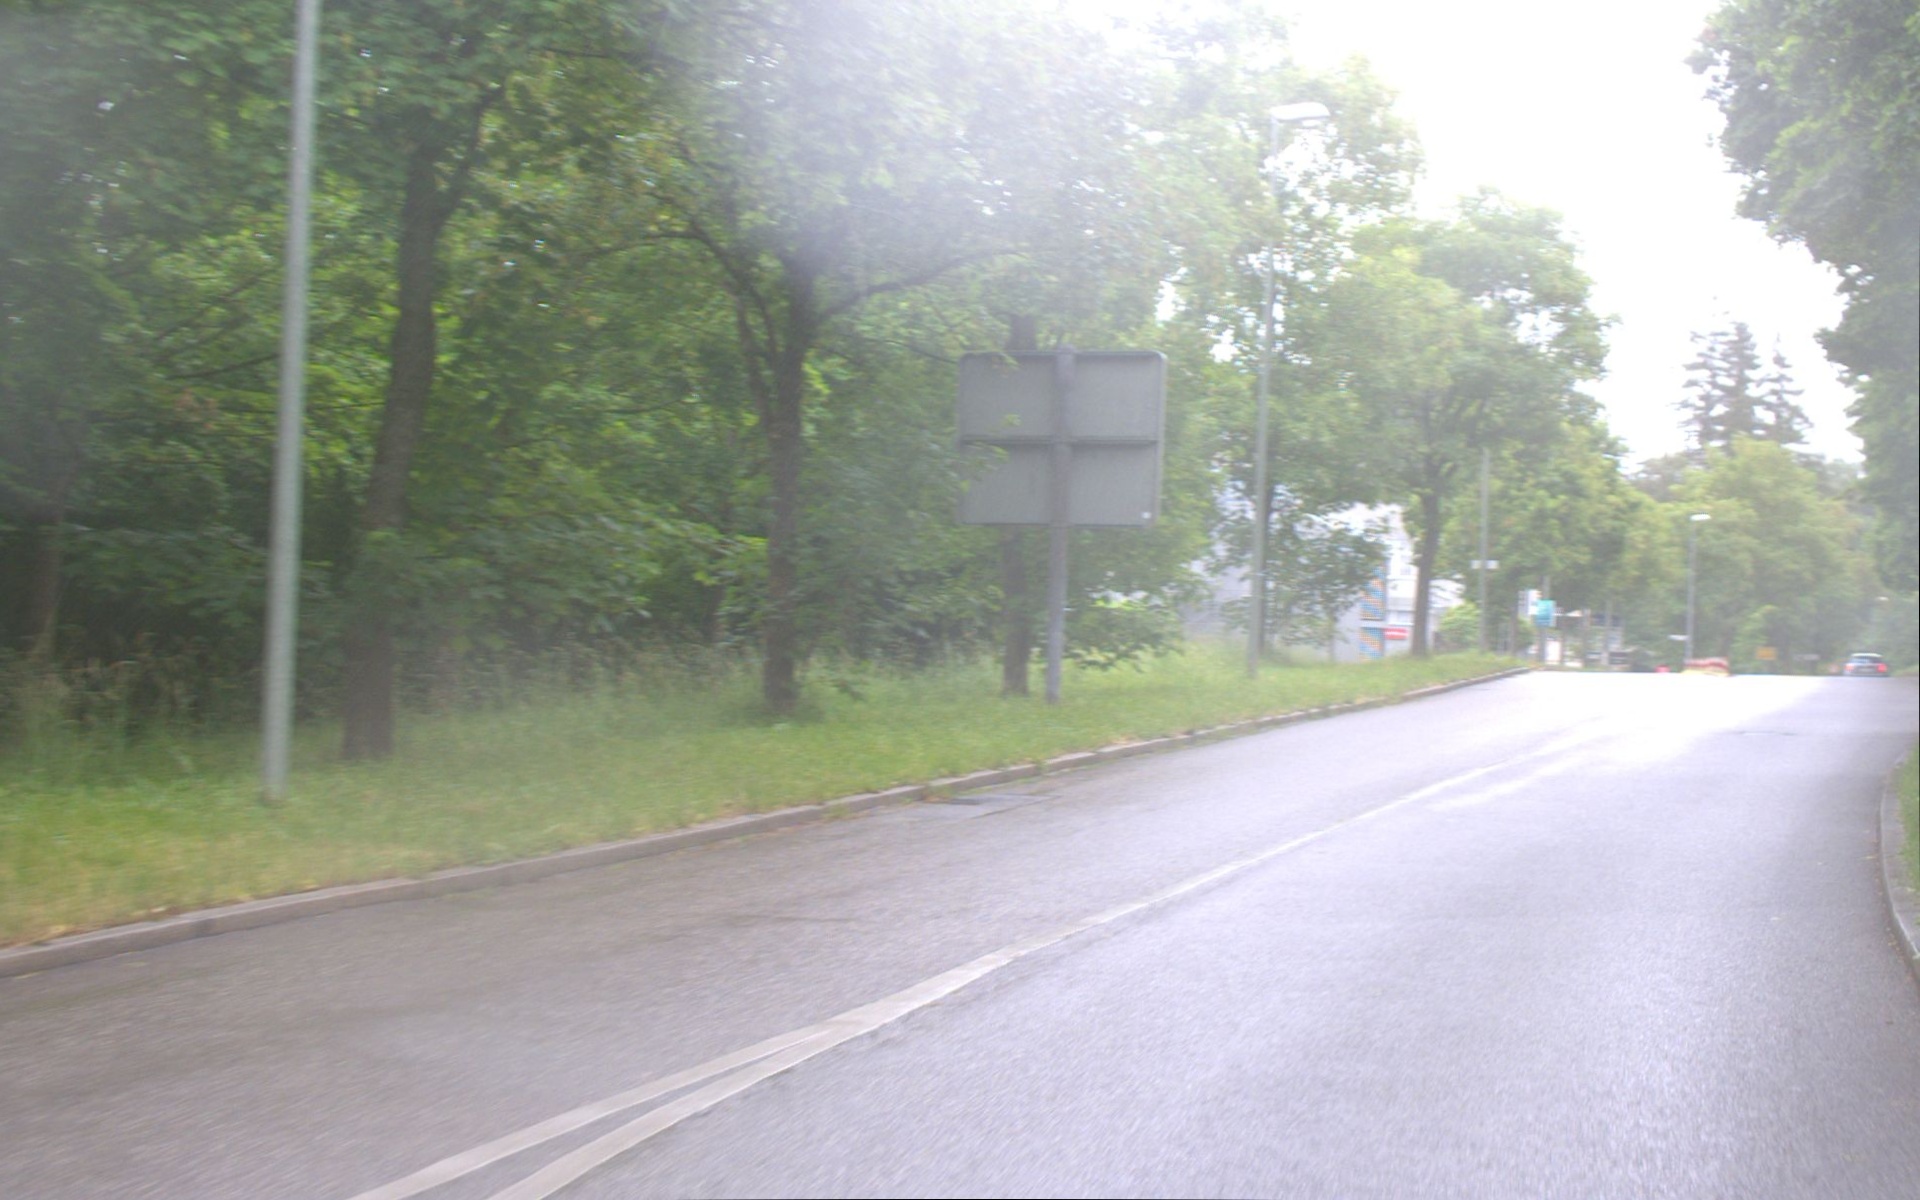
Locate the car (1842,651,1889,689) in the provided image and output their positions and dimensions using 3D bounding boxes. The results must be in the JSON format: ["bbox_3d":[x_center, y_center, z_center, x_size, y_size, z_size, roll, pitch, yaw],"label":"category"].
[{"bbox_3d":[37.504,2.917,142.349,1.738,1.505,3.996,-1,-3,17],"label":"car"}]
